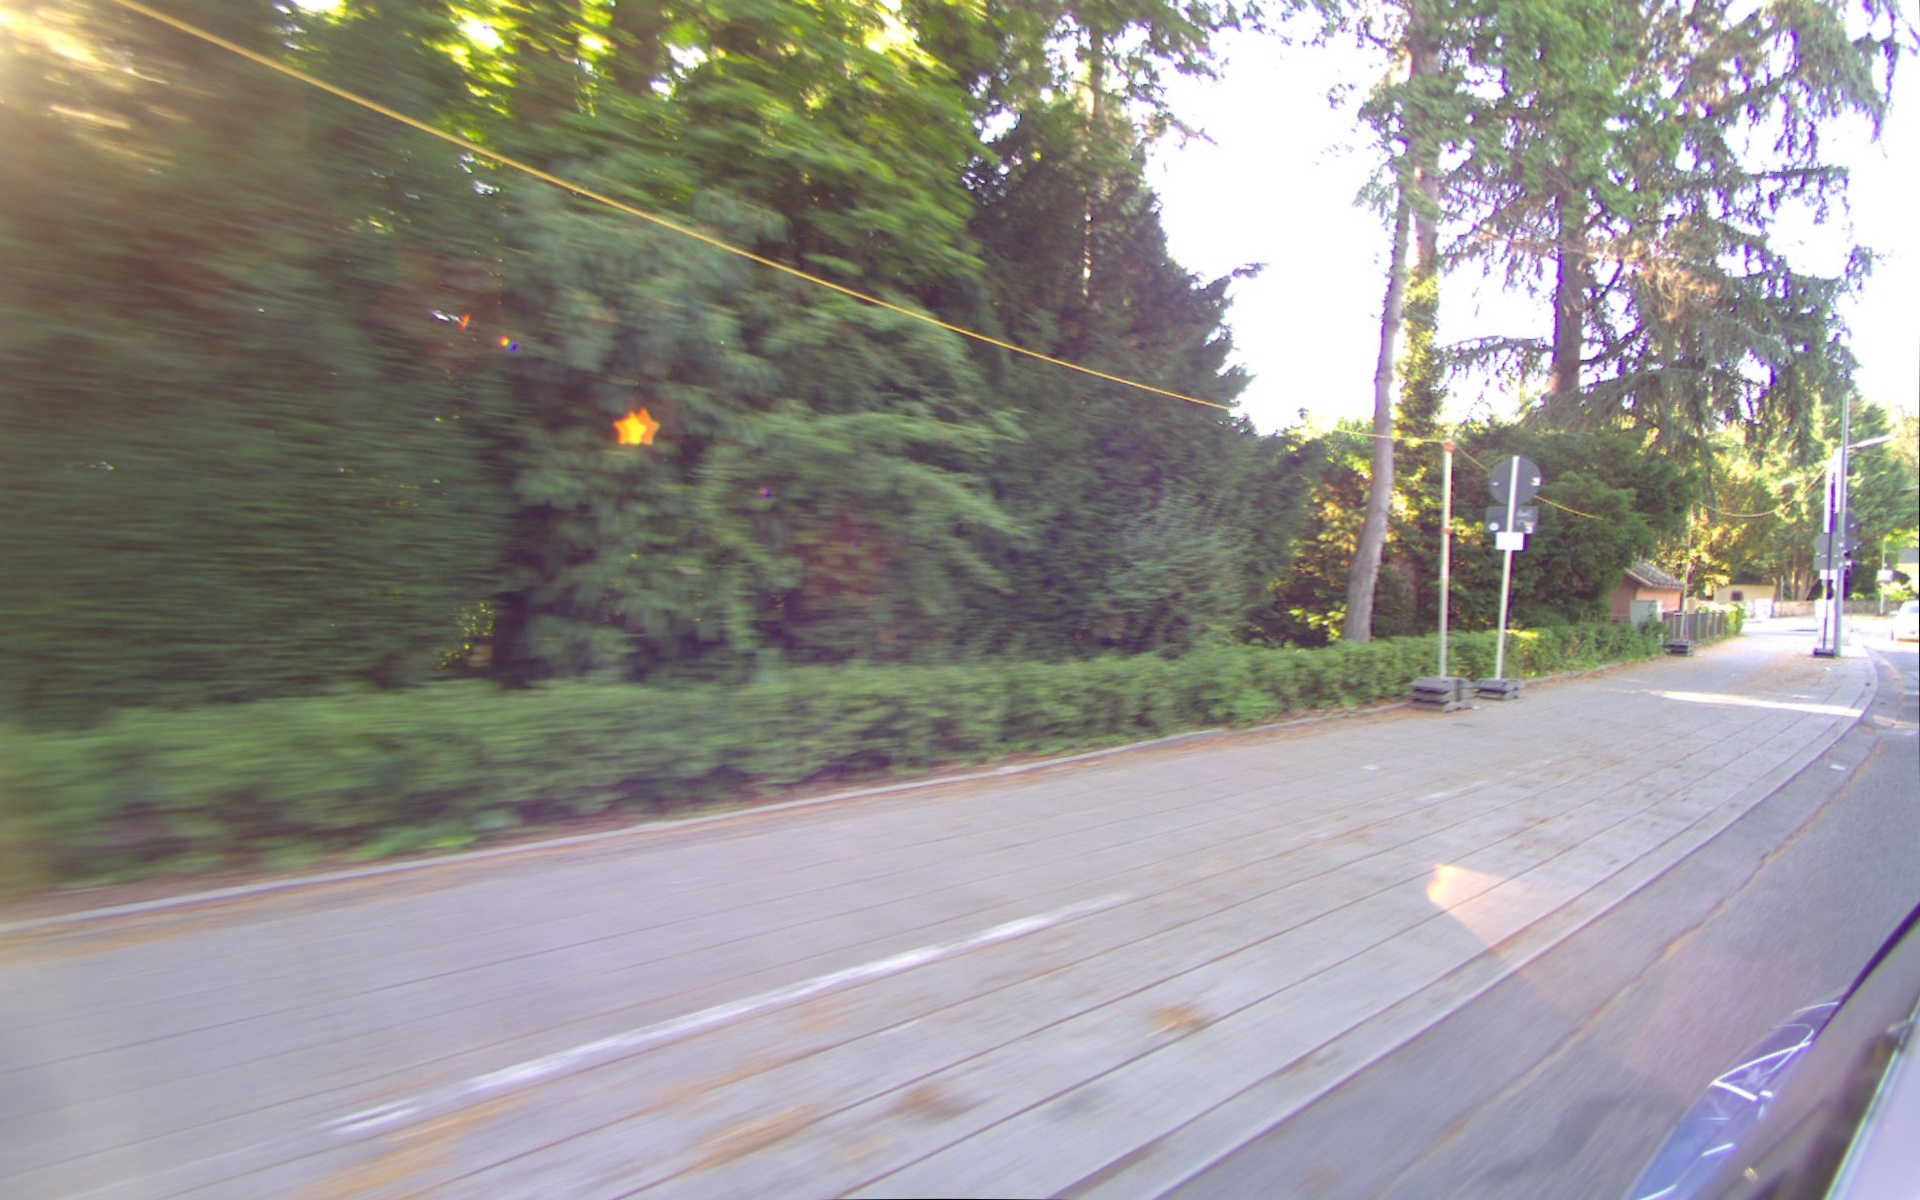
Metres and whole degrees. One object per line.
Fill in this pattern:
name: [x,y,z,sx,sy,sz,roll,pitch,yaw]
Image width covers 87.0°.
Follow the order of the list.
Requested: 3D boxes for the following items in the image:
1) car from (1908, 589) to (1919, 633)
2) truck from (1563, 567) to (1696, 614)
car: [34.555,0.364,35.582,1.656,1.495,3.628,0,0,41]
truck: [41.175,-0.535,62.509,2.322,2.787,6.520,-1,0,-27]
